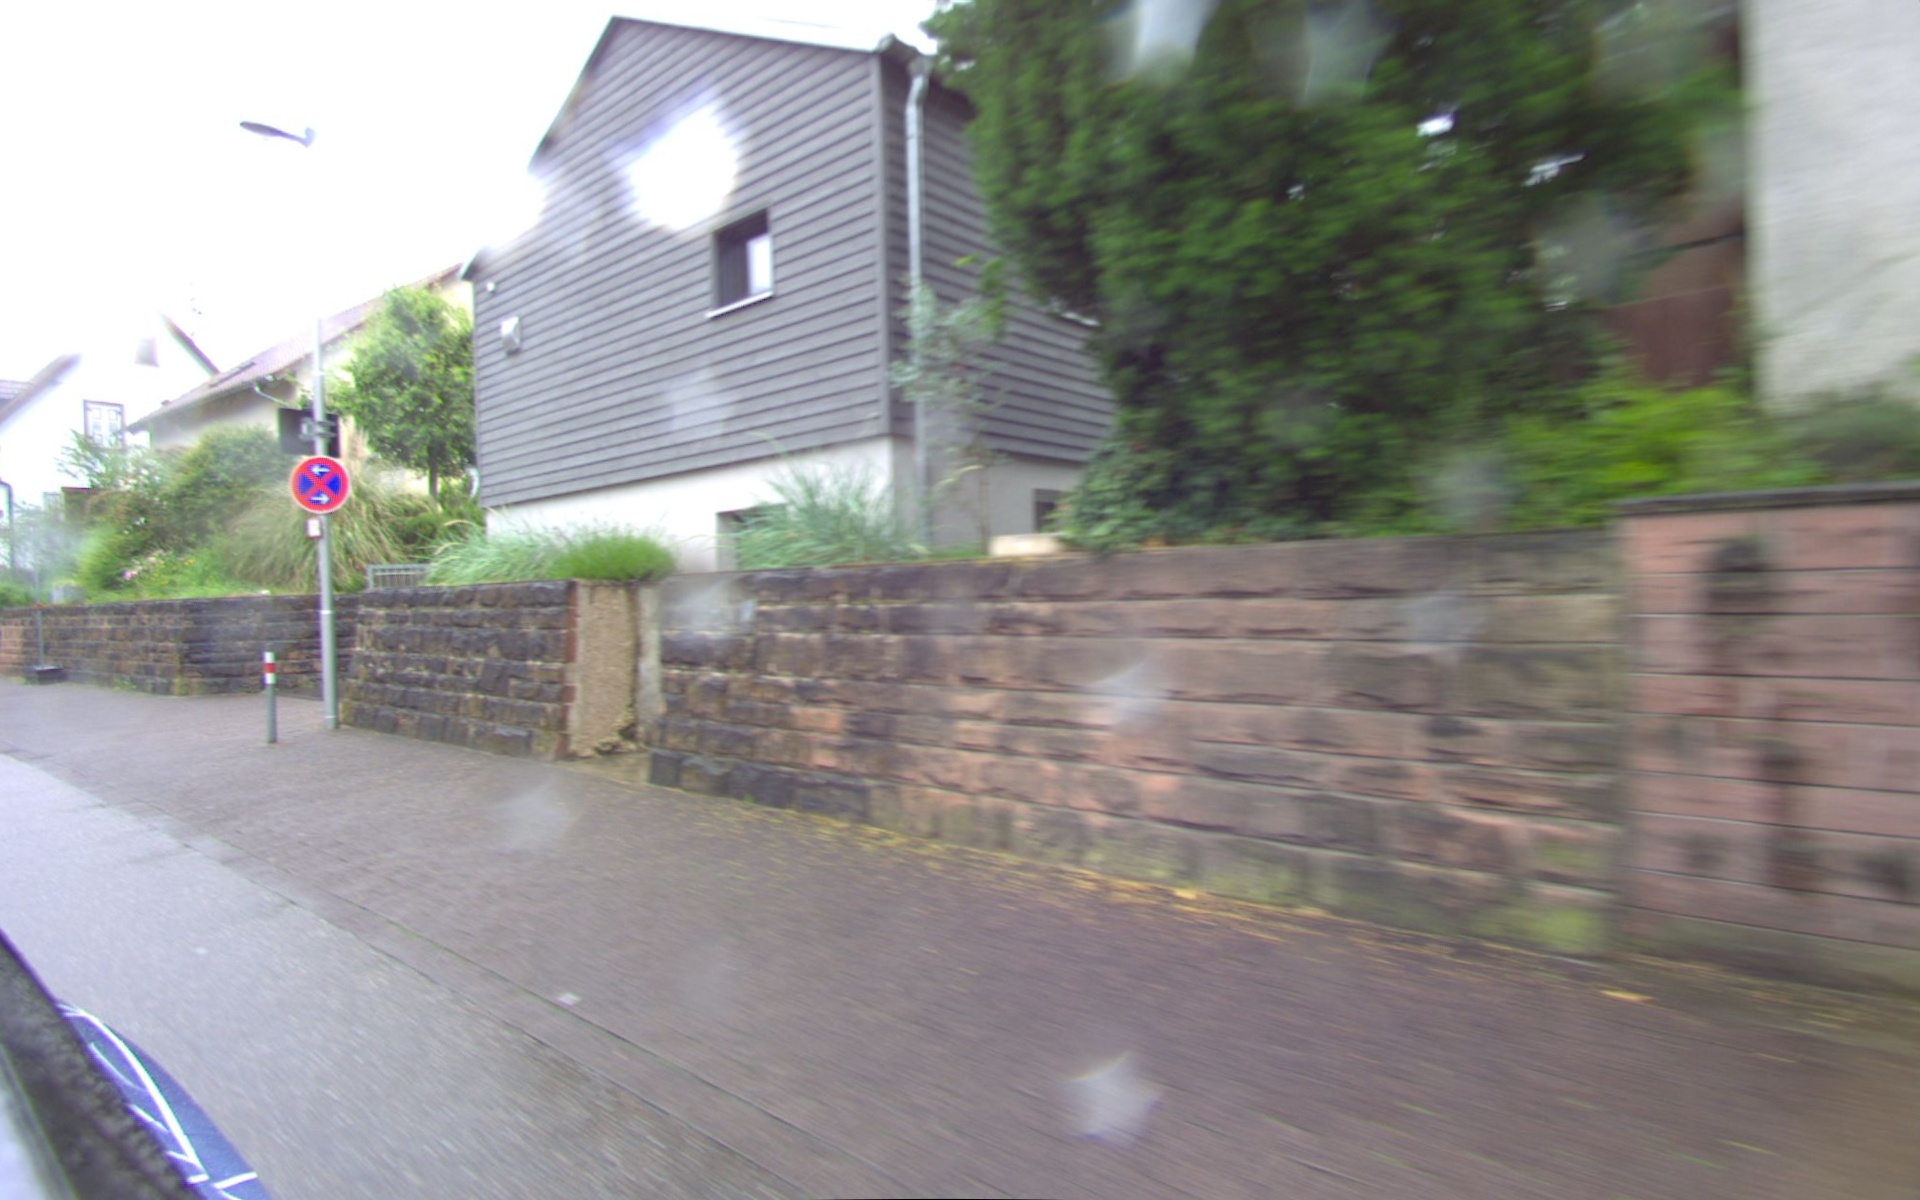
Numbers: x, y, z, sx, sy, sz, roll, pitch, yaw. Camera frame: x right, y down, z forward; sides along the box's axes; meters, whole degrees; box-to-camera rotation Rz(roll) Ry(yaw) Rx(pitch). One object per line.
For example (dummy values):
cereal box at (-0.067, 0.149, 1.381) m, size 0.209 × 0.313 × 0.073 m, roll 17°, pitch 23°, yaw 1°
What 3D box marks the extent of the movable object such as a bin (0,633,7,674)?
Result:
movable object such as a bin at (-22.391, 1.239, 23.275) m, size 0.543 × 0.937 × 0.533 m, roll -1°, pitch 2°, yaw 33°
